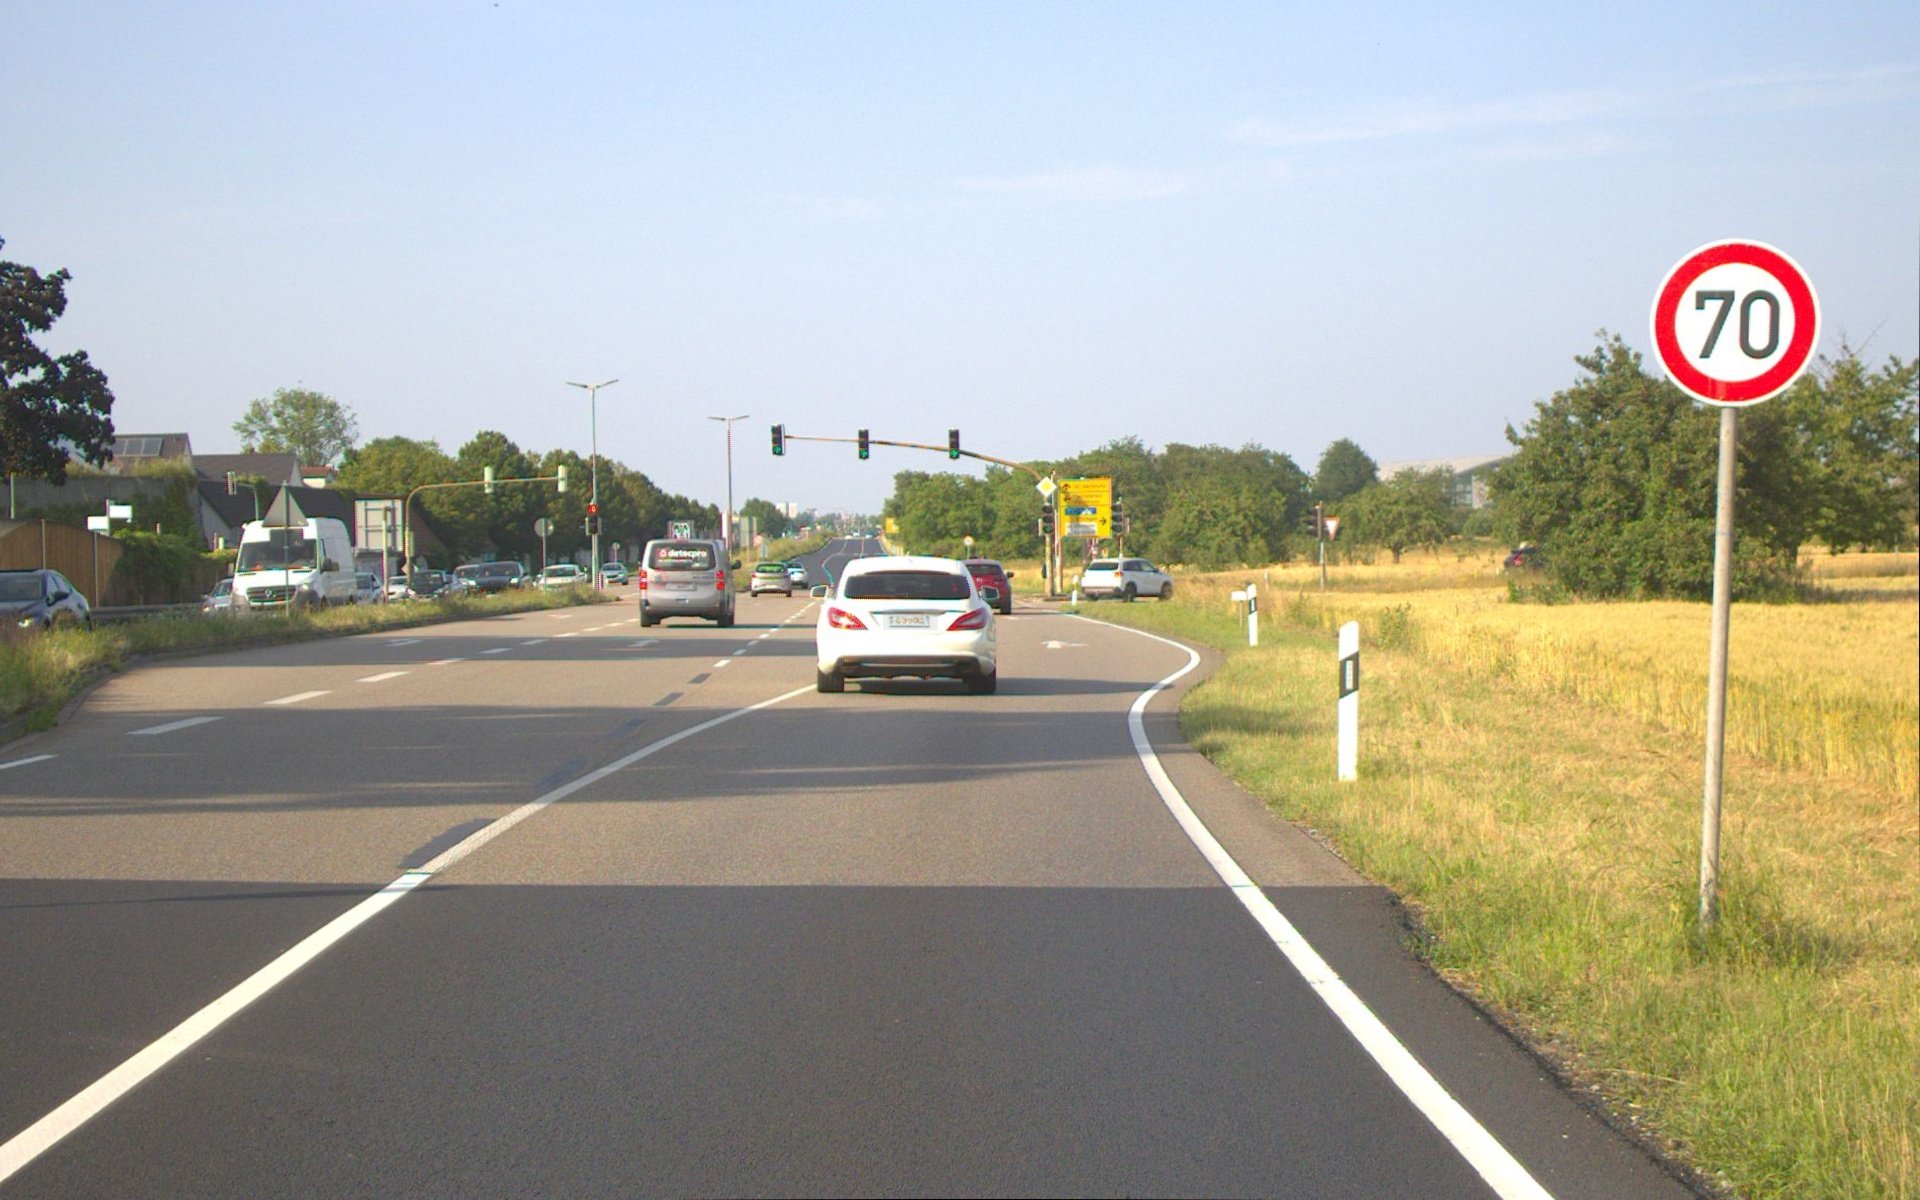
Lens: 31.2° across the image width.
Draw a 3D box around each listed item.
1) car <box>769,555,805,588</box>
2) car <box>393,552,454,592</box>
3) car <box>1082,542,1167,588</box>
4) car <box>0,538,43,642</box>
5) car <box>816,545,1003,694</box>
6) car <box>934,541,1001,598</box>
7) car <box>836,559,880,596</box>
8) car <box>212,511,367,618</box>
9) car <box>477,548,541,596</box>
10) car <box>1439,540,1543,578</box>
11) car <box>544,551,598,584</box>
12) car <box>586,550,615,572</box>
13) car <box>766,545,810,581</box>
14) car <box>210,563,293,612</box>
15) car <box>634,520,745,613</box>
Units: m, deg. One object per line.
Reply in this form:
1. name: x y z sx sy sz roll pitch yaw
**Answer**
1. car: -9.135 -1.516 181.193 1.775 1.660 3.664 1 1 -5
2. car: -20.360 -1.077 130.498 1.710 1.451 4.000 1 1 -1
3. car: 5.884 -1.258 122.329 1.857 1.592 3.996 1 1 21
4. car: -14.149 -0.150 48.160 1.648 1.437 3.568 1 1 0
5. car: -0.567 0.168 36.818 1.894 1.503 4.000 0 1 -1
6. car: 0.186 -0.861 95.119 1.754 1.511 4.000 -1 1 -1
7. car: -4.833 -1.086 162.920 1.839 1.678 4.001 1 1 -5
8. car: -15.228 -0.837 78.495 2.348 2.295 7.192 1 1 -2
9. car: -15.881 -1.011 121.208 1.731 1.619 4.923 1 1 -2
10. car: 20.266 -1.562 131.273 3.683 1.415 1.640 1 1 1
11. car: -16.292 -1.359 144.106 1.873 1.317 4.714 1 1 -2
12. car: -23.860 -2.611 228.346 1.783 1.432 4.358 1 1 -5
13. car: -7.311 -1.598 145.993 1.717 1.487 3.585 1 1 -1
14. car: -19.363 -0.364 94.052 1.684 1.282 3.147 1 1 -2
15. car: -5.770 -0.757 73.863 2.025 1.885 4.959 1 1 -1
